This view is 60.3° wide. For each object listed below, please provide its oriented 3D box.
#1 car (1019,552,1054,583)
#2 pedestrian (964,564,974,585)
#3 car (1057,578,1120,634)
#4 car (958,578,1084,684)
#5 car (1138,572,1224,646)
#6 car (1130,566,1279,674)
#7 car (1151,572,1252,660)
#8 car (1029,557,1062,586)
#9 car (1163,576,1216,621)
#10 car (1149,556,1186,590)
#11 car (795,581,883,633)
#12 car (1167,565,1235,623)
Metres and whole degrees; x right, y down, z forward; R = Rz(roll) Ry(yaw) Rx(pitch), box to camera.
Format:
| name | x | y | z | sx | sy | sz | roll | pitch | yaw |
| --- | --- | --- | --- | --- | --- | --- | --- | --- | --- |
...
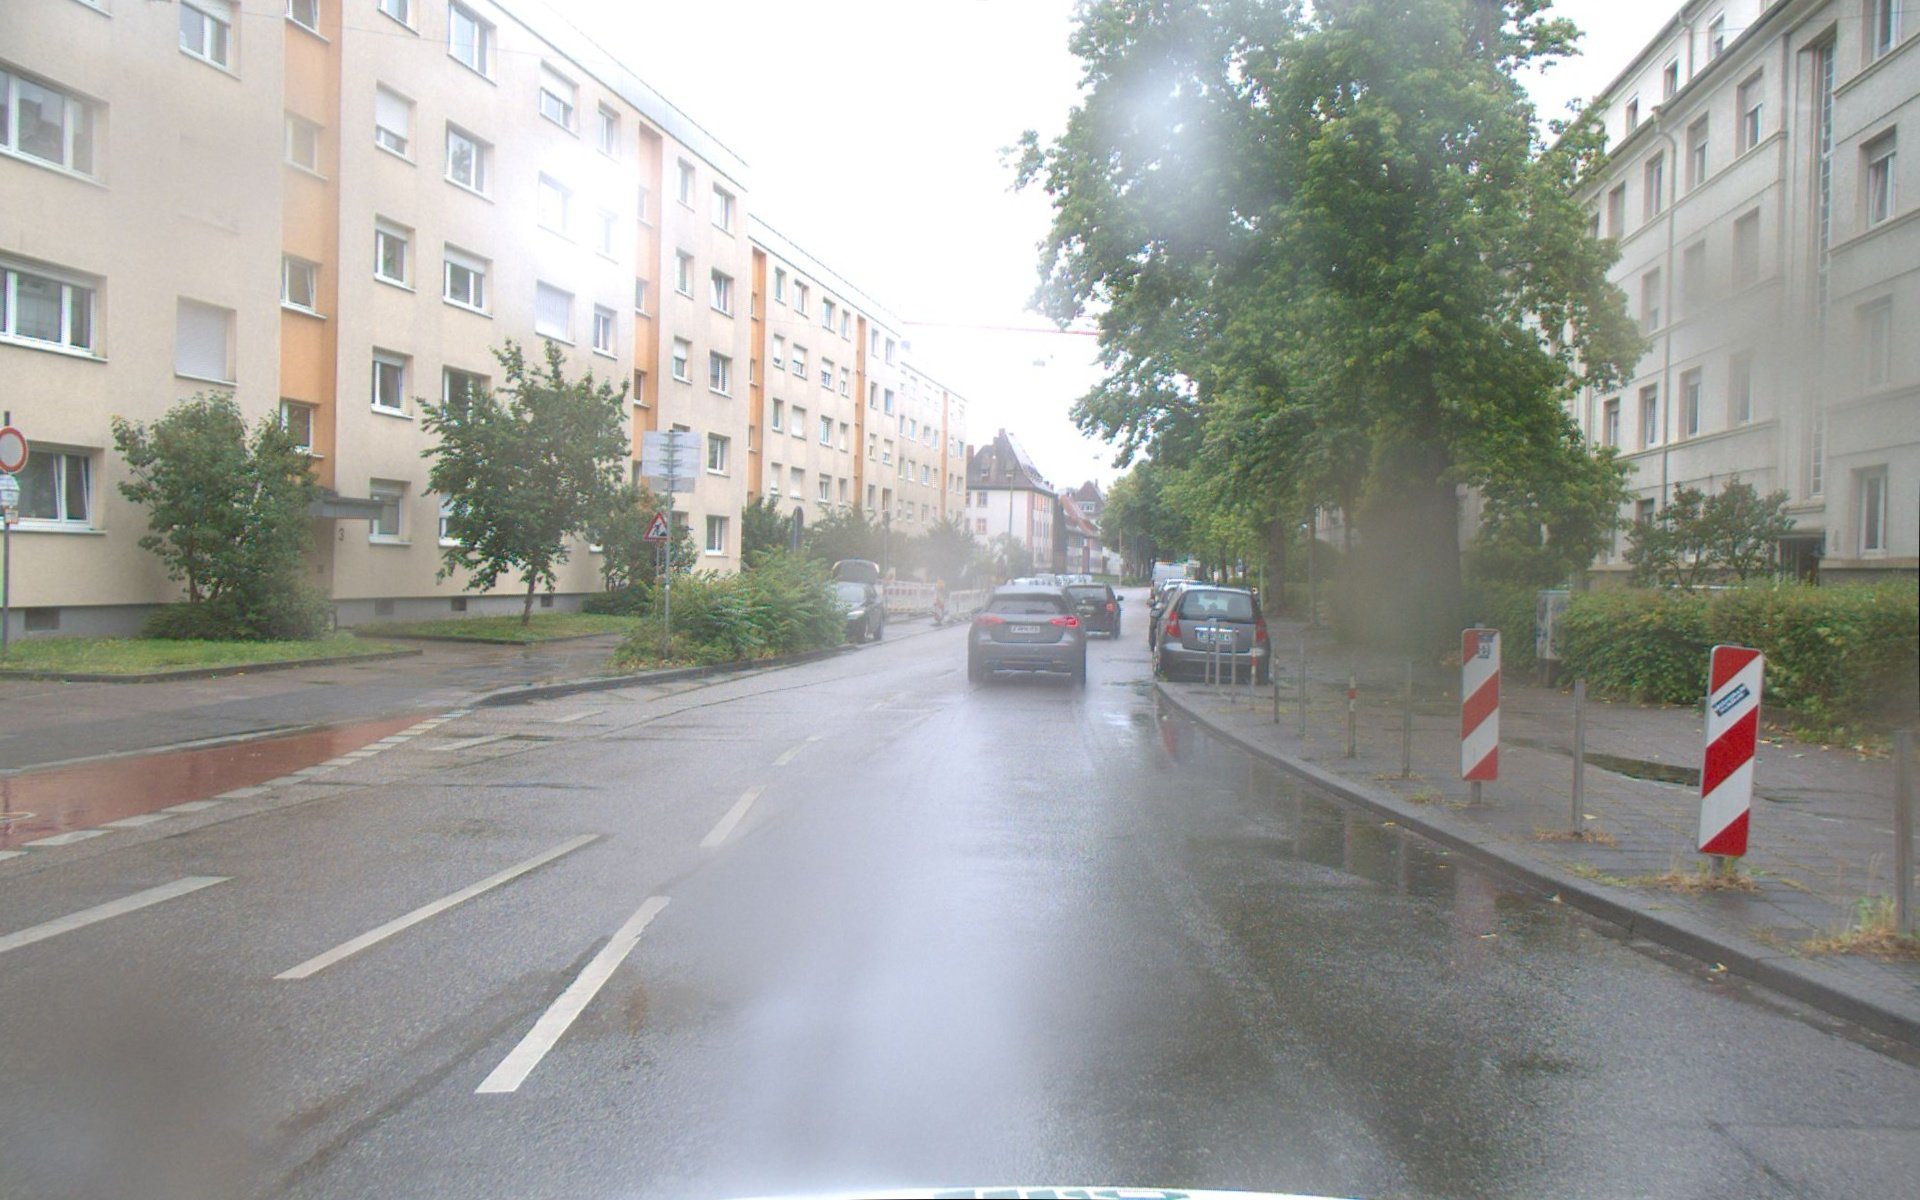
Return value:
| name | x | y | z | sx | sy | sz | roll | pitch | yaw |
| --- | --- | --- | --- | --- | --- | --- | --- | --- | --- |
| car | 4.760 | -2.000 | 102.743 | 1.849 | 1.868 | 4.003 | 1 | 1 | 7 |
| pedestrian | 0.611 | -1.671 | 108.173 | 0.517 | 1.381 | 0.586 | 2 | 1 | 11 |
| car | 3.430 | 0.121 | 44.623 | 1.573 | 1.396 | 4.002 | 0 | 1 | 3 |
| car | 0.955 | 0.417 | 25.382 | 1.754 | 1.396 | 3.508 | 2 | 1 | 3 |
| car | 5.117 | 0.164 | 38.564 | 1.849 | 1.601 | 4.003 | 1 | 1 | 7 |
| car | 3.922 | 0.274 | 27.117 | 1.952 | 1.601 | 4.001 | 1 | 1 | 2 |
| car | 4.741 | 0.272 | 32.888 | 1.849 | 1.601 | 4.003 | 1 | 1 | 7 |
| car | 5.661 | -1.856 | 109.252 | 1.849 | 1.868 | 4.003 | 1 | 1 | 7 |
| car | 8.544 | -0.079 | 61.729 | 1.849 | 1.601 | 4.003 | 1 | 1 | 7 |
| car | 11.856 | -1.553 | 94.811 | 2.003 | 1.868 | 4.796 | 1 | 1 | 7 |
| car | -3.066 | 0.152 | 42.429 | 1.556 | 1.227 | 3.462 | 1 | 1 | 8 |
| car | 7.082 | -0.195 | 48.834 | 1.849 | 1.601 | 4.003 | 1 | 1 | 7 |
